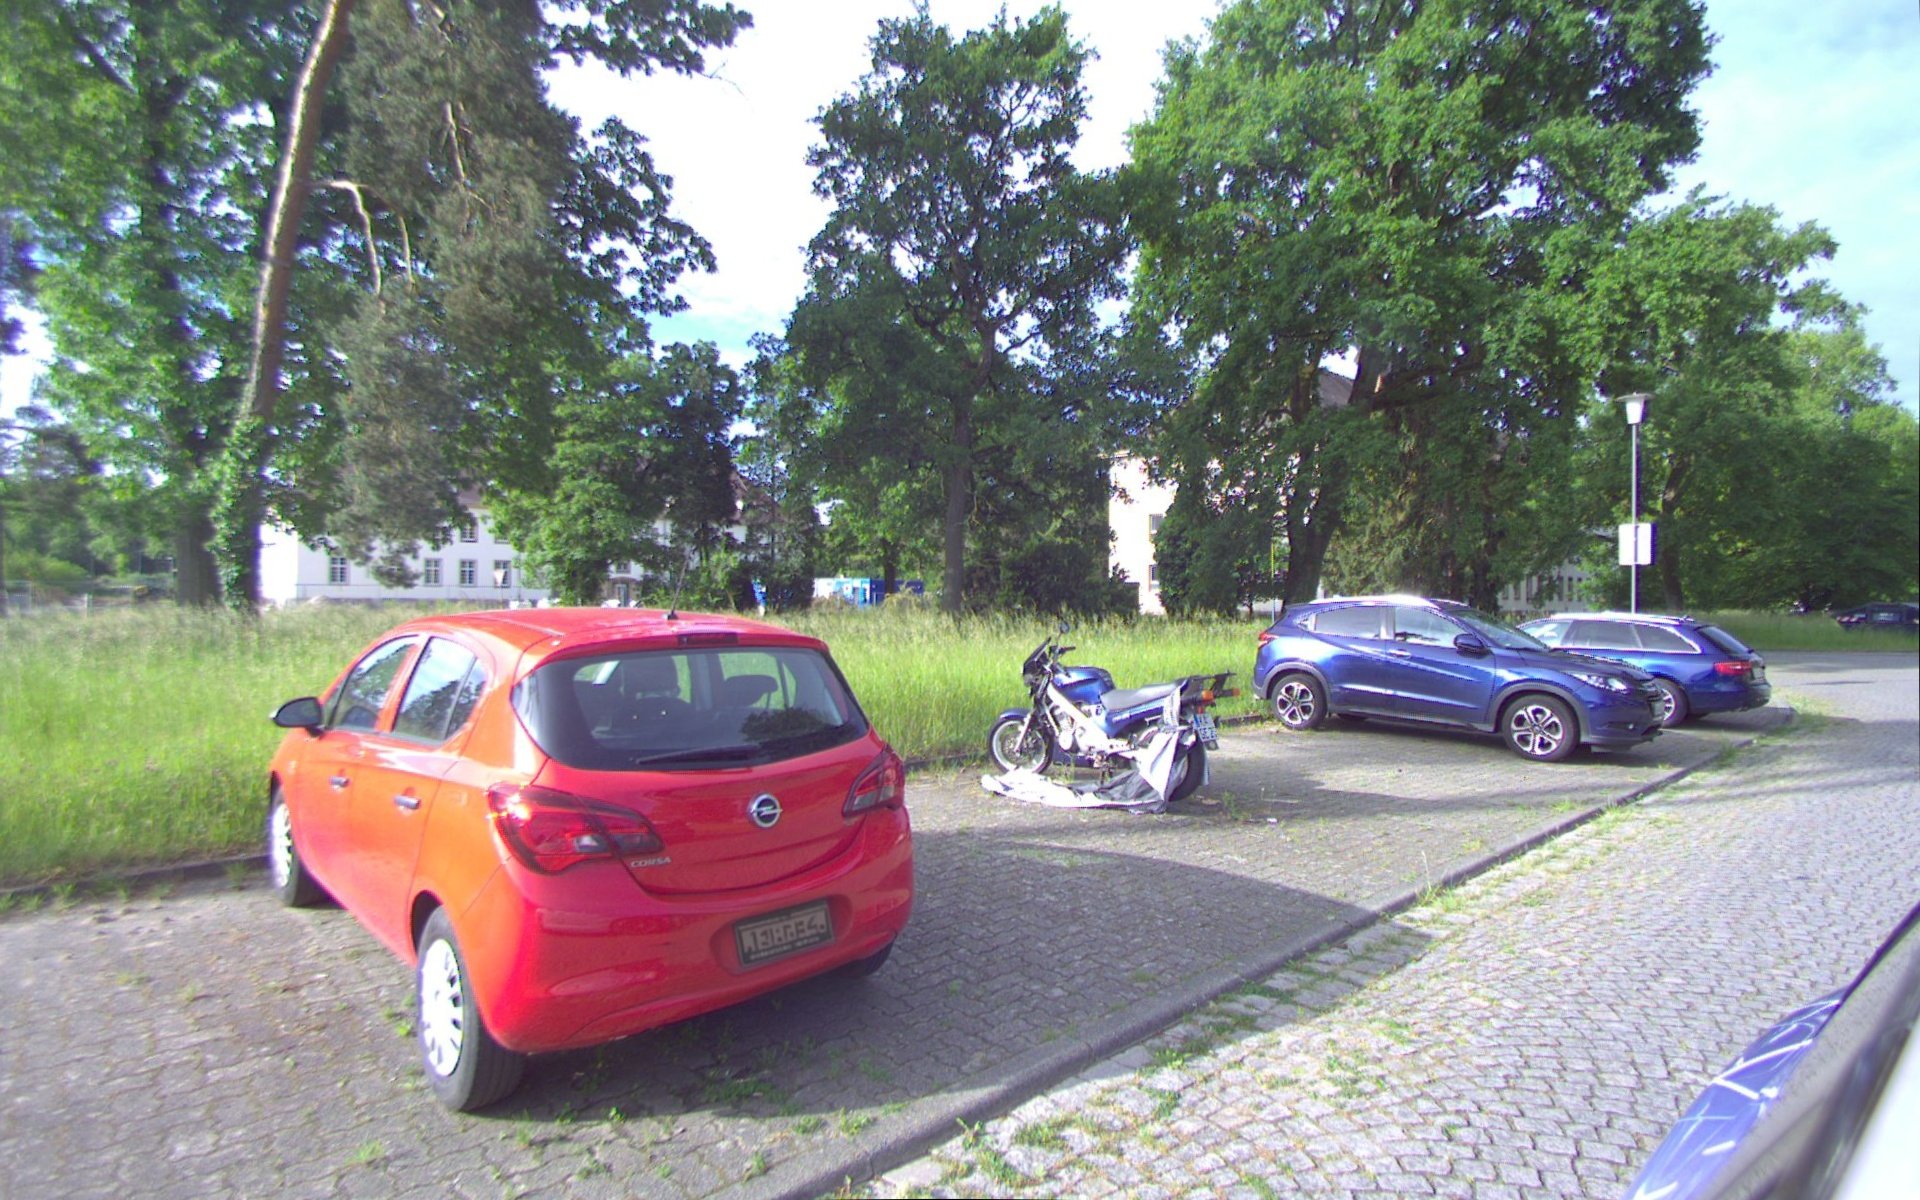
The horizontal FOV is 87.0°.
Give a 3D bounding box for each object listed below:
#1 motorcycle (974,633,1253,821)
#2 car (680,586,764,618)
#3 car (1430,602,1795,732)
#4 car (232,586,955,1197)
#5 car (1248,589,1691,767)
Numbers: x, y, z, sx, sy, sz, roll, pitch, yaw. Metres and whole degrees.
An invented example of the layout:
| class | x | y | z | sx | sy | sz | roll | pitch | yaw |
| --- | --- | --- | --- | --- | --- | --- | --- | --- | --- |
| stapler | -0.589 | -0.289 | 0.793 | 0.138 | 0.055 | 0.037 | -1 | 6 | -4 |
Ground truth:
| class | x | y | z | sx | sy | sz | roll | pitch | yaw |
| --- | --- | --- | --- | --- | --- | --- | --- | --- | --- |
| motorcycle | 1.098 | 0.888 | 7.854 | 0.596 | 1.127 | 2.306 | 0 | 2 | -41 |
| car | -17.956 | 0.147 | 76.536 | 5.857 | 2.328 | 2.166 | 0 | 0 | -41 |
| car | 9.066 | 0.812 | 14.335 | 1.752 | 1.469 | 4.033 | 0 | 1 | -40 |
| car | -1.950 | 0.715 | 4.557 | 1.659 | 1.491 | 3.881 | -1 | 2 | -43 |
| car | 5.520 | 0.691 | 11.371 | 1.717 | 1.588 | 4.130 | -1 | 1 | -43 |
